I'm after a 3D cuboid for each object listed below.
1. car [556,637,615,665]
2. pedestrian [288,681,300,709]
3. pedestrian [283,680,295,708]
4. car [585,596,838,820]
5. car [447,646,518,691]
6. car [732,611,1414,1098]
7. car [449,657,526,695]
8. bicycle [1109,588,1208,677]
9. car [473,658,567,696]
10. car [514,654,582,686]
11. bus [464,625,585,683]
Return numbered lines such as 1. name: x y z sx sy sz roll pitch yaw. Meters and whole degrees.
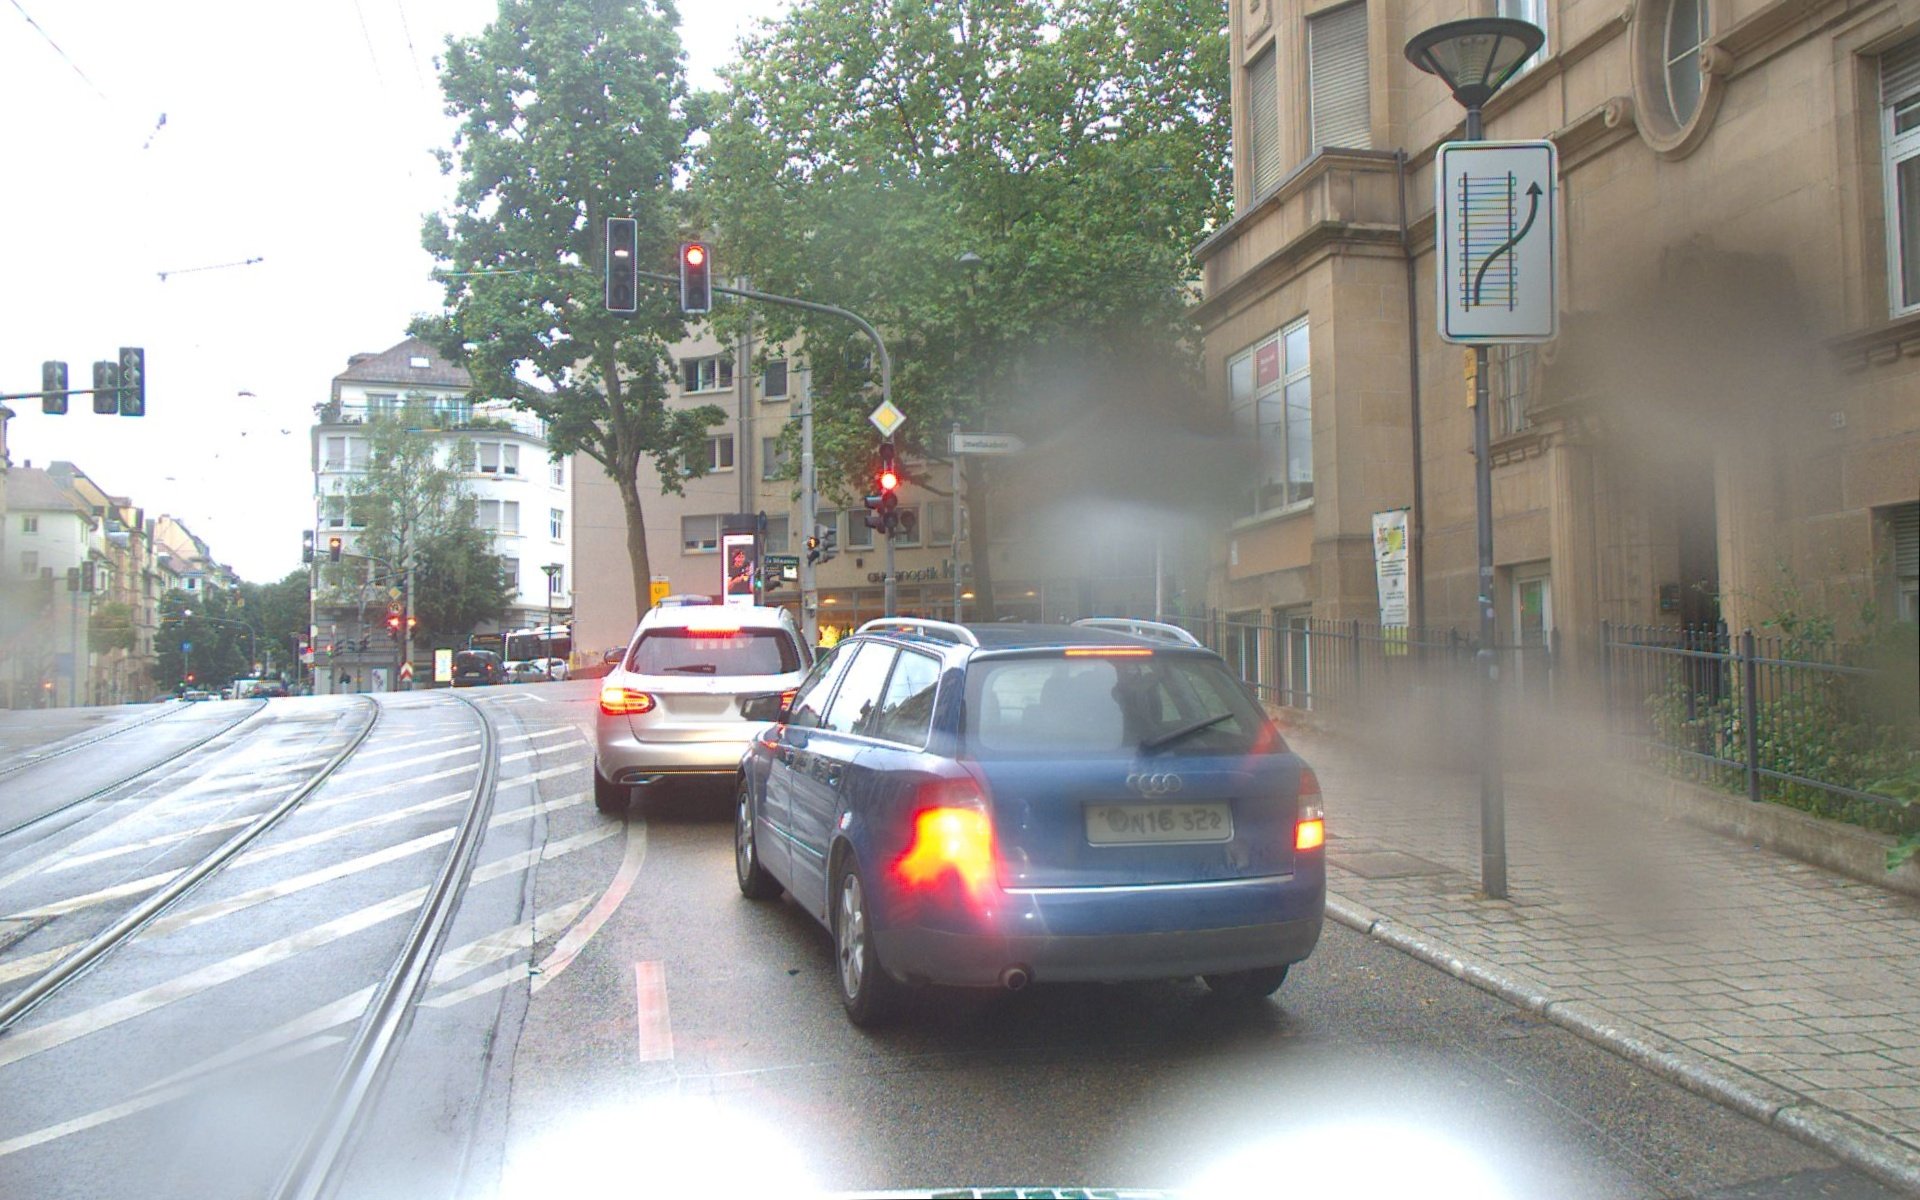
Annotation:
1. car: -22.984 3.127 101.549 1.756 1.536 4.002 -1 0 17
2. pedestrian: -40.830 5.803 101.388 0.639 1.690 0.646 0 -1 -21
3. pedestrian: -42.077 5.904 103.699 0.639 1.690 0.646 0 -1 -21
4. car: -1.898 0.717 12.885 1.678 1.481 3.546 0 0 -8
5. car: -19.486 2.767 67.630 1.758 1.536 3.999 -3 0 -2
6. car: 0.149 0.789 7.222 1.683 1.440 4.017 0 0 -17
7. car: -23.558 3.777 82.593 1.756 1.642 4.002 -1 0 17
8. bicycle: 2.851 0.455 23.774 1.278 1.194 0.524 -3 0 -13
9. car: -20.887 3.632 78.688 1.758 1.537 4.664 -1 0 24
10. car: -22.152 3.757 89.035 1.756 1.536 4.002 -1 0 17
11. bus: -24.594 2.993 93.992 2.793 2.911 8.741 -1 0 13
